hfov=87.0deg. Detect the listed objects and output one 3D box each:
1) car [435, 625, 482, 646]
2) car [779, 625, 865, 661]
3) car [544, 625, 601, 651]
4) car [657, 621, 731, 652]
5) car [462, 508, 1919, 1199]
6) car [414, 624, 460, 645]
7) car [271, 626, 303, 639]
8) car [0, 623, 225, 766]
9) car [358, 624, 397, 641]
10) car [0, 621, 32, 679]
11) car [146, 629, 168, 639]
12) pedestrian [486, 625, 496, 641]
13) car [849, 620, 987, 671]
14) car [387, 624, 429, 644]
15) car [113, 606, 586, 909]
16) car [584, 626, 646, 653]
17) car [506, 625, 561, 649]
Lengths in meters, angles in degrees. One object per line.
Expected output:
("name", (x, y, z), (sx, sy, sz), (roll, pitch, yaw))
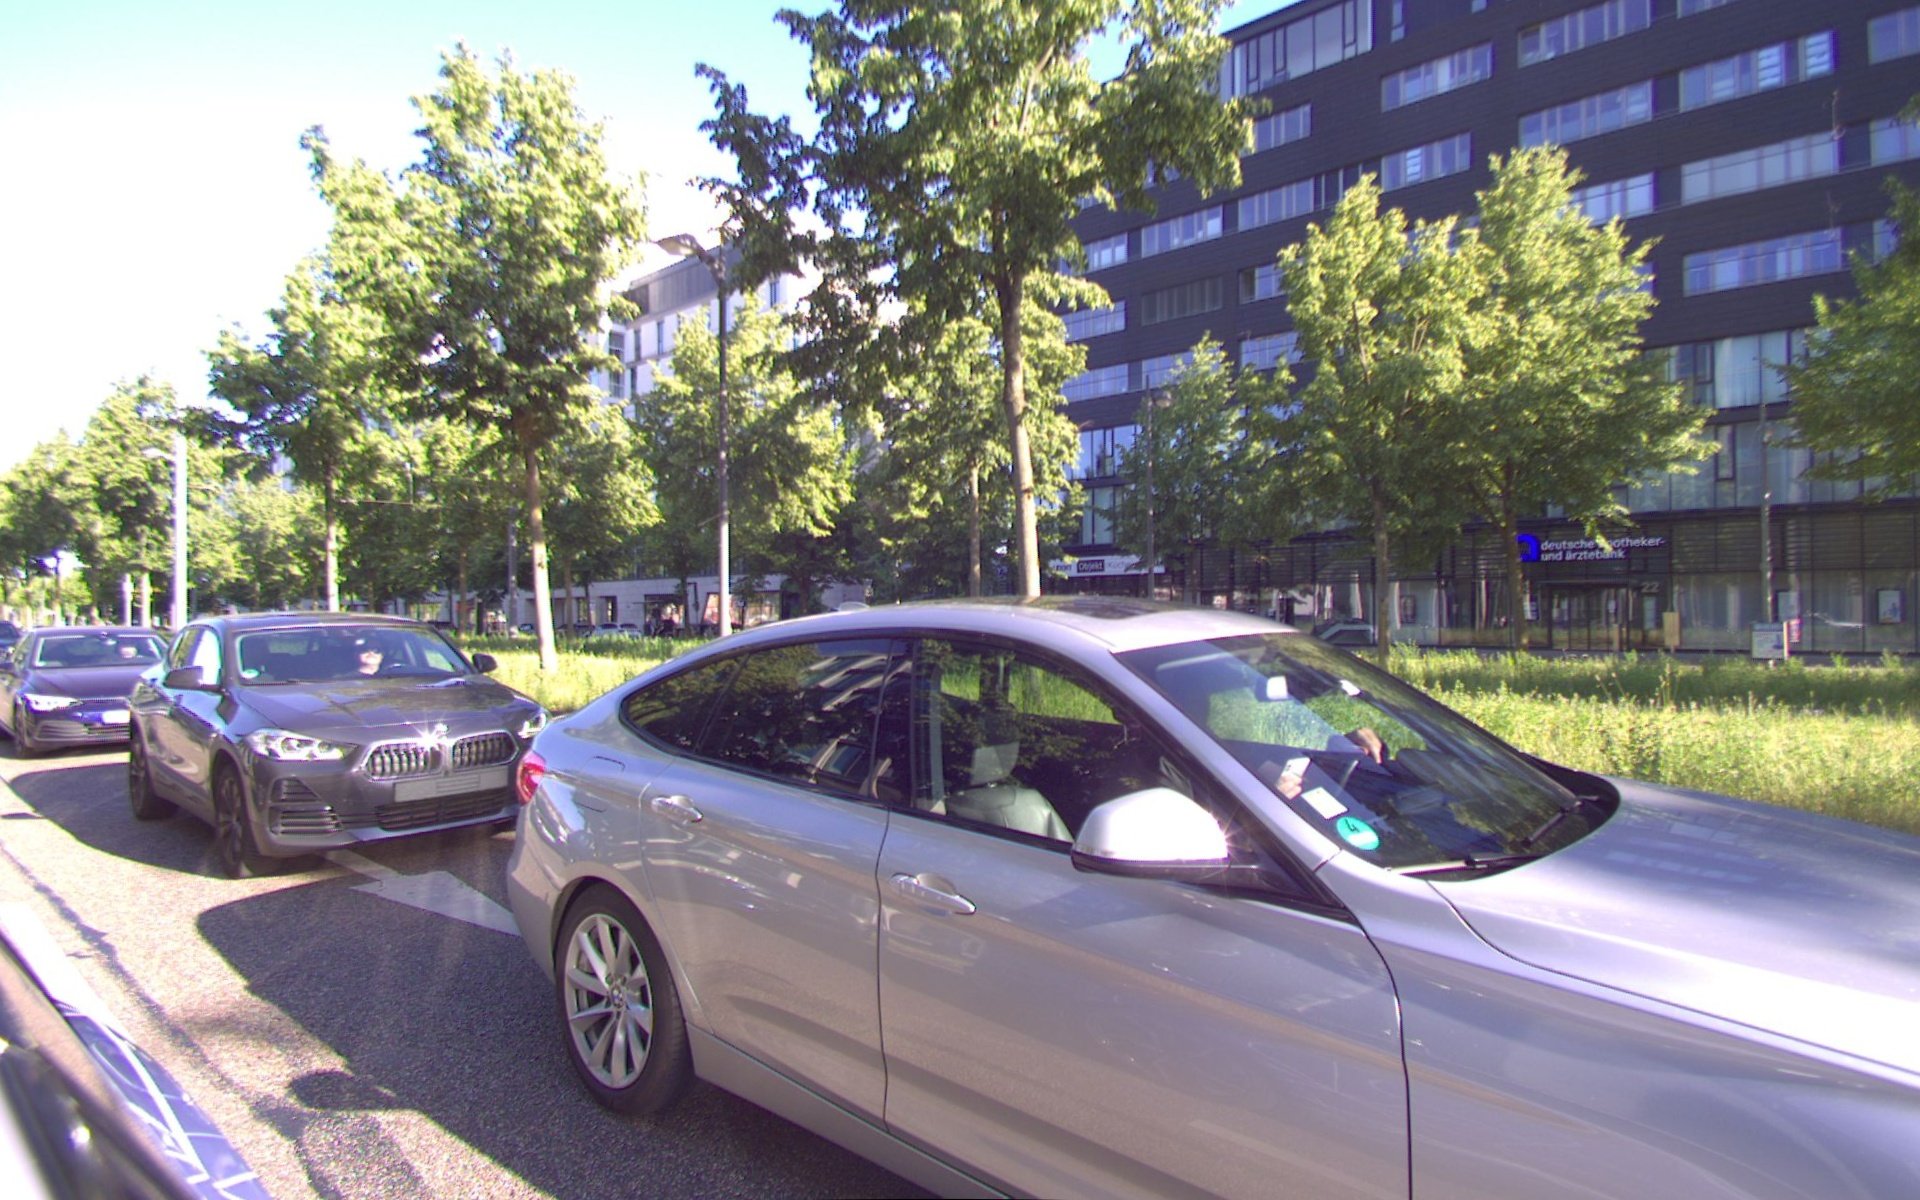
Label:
("car", (-38.663, 2.728, 77.984), (4.182, 1.609, 1.859), (-2, -1, 41))
("car", (-6.762, 2.069, 49.396), (4.182, 1.609, 1.926), (-2, -1, 41))
("car", (-25.694, 2.517, 67.064), (4.182, 1.609, 1.859), (-2, -1, 41))
("car", (-14.630, 1.992, 55.552), (4.182, 1.609, 1.926), (-2, -1, 41))
("car", (0.653, 0.679, 2.574), (4.558, 1.495, 1.800), (-1, -1, 40))
("car", (-42.125, 2.774, 81.491), (4.182, 1.609, 1.859), (-2, -1, 41))
("car", (-72.523, 3.489, 109.075), (3.998, 1.406, 1.972), (-2, -2, 41))
("car", (-10.663, 1.011, 12.413), (4.344, 1.434, 1.854), (-1, -1, 43))
("car", (-51.329, 2.868, 89.185), (4.001, 1.406, 1.971), (-2, -2, 44))
("car", (-28.074, 1.407, 28.975), (4.344, 1.598, 1.854), (-1, -1, 43))
("car", (-114.615, 4.802, 144.511), (4.001, 1.406, 1.971), (-2, -2, 44))
("pedestrian", (-41.757, 2.935, 90.086), (0.660, 1.349, 0.597), (-2, -1, 41))
("car", (-1.452, 1.462, 33.604), (4.567, 1.494, 1.780), (-1, 2, 42))
("car", (-46.580, 2.843, 85.387), (4.182, 1.609, 1.859), (-2, -1, 41))
("car", (-4.433, 0.825, 7.082), (4.000, 1.502, 1.836), (-1, -1, 43))
("car", (-21.553, 2.456, 63.137), (4.182, 1.609, 1.859), (-2, -1, 41))
("car", (-29.722, 2.582, 70.477), (4.182, 1.609, 1.859), (-2, -1, 41))
